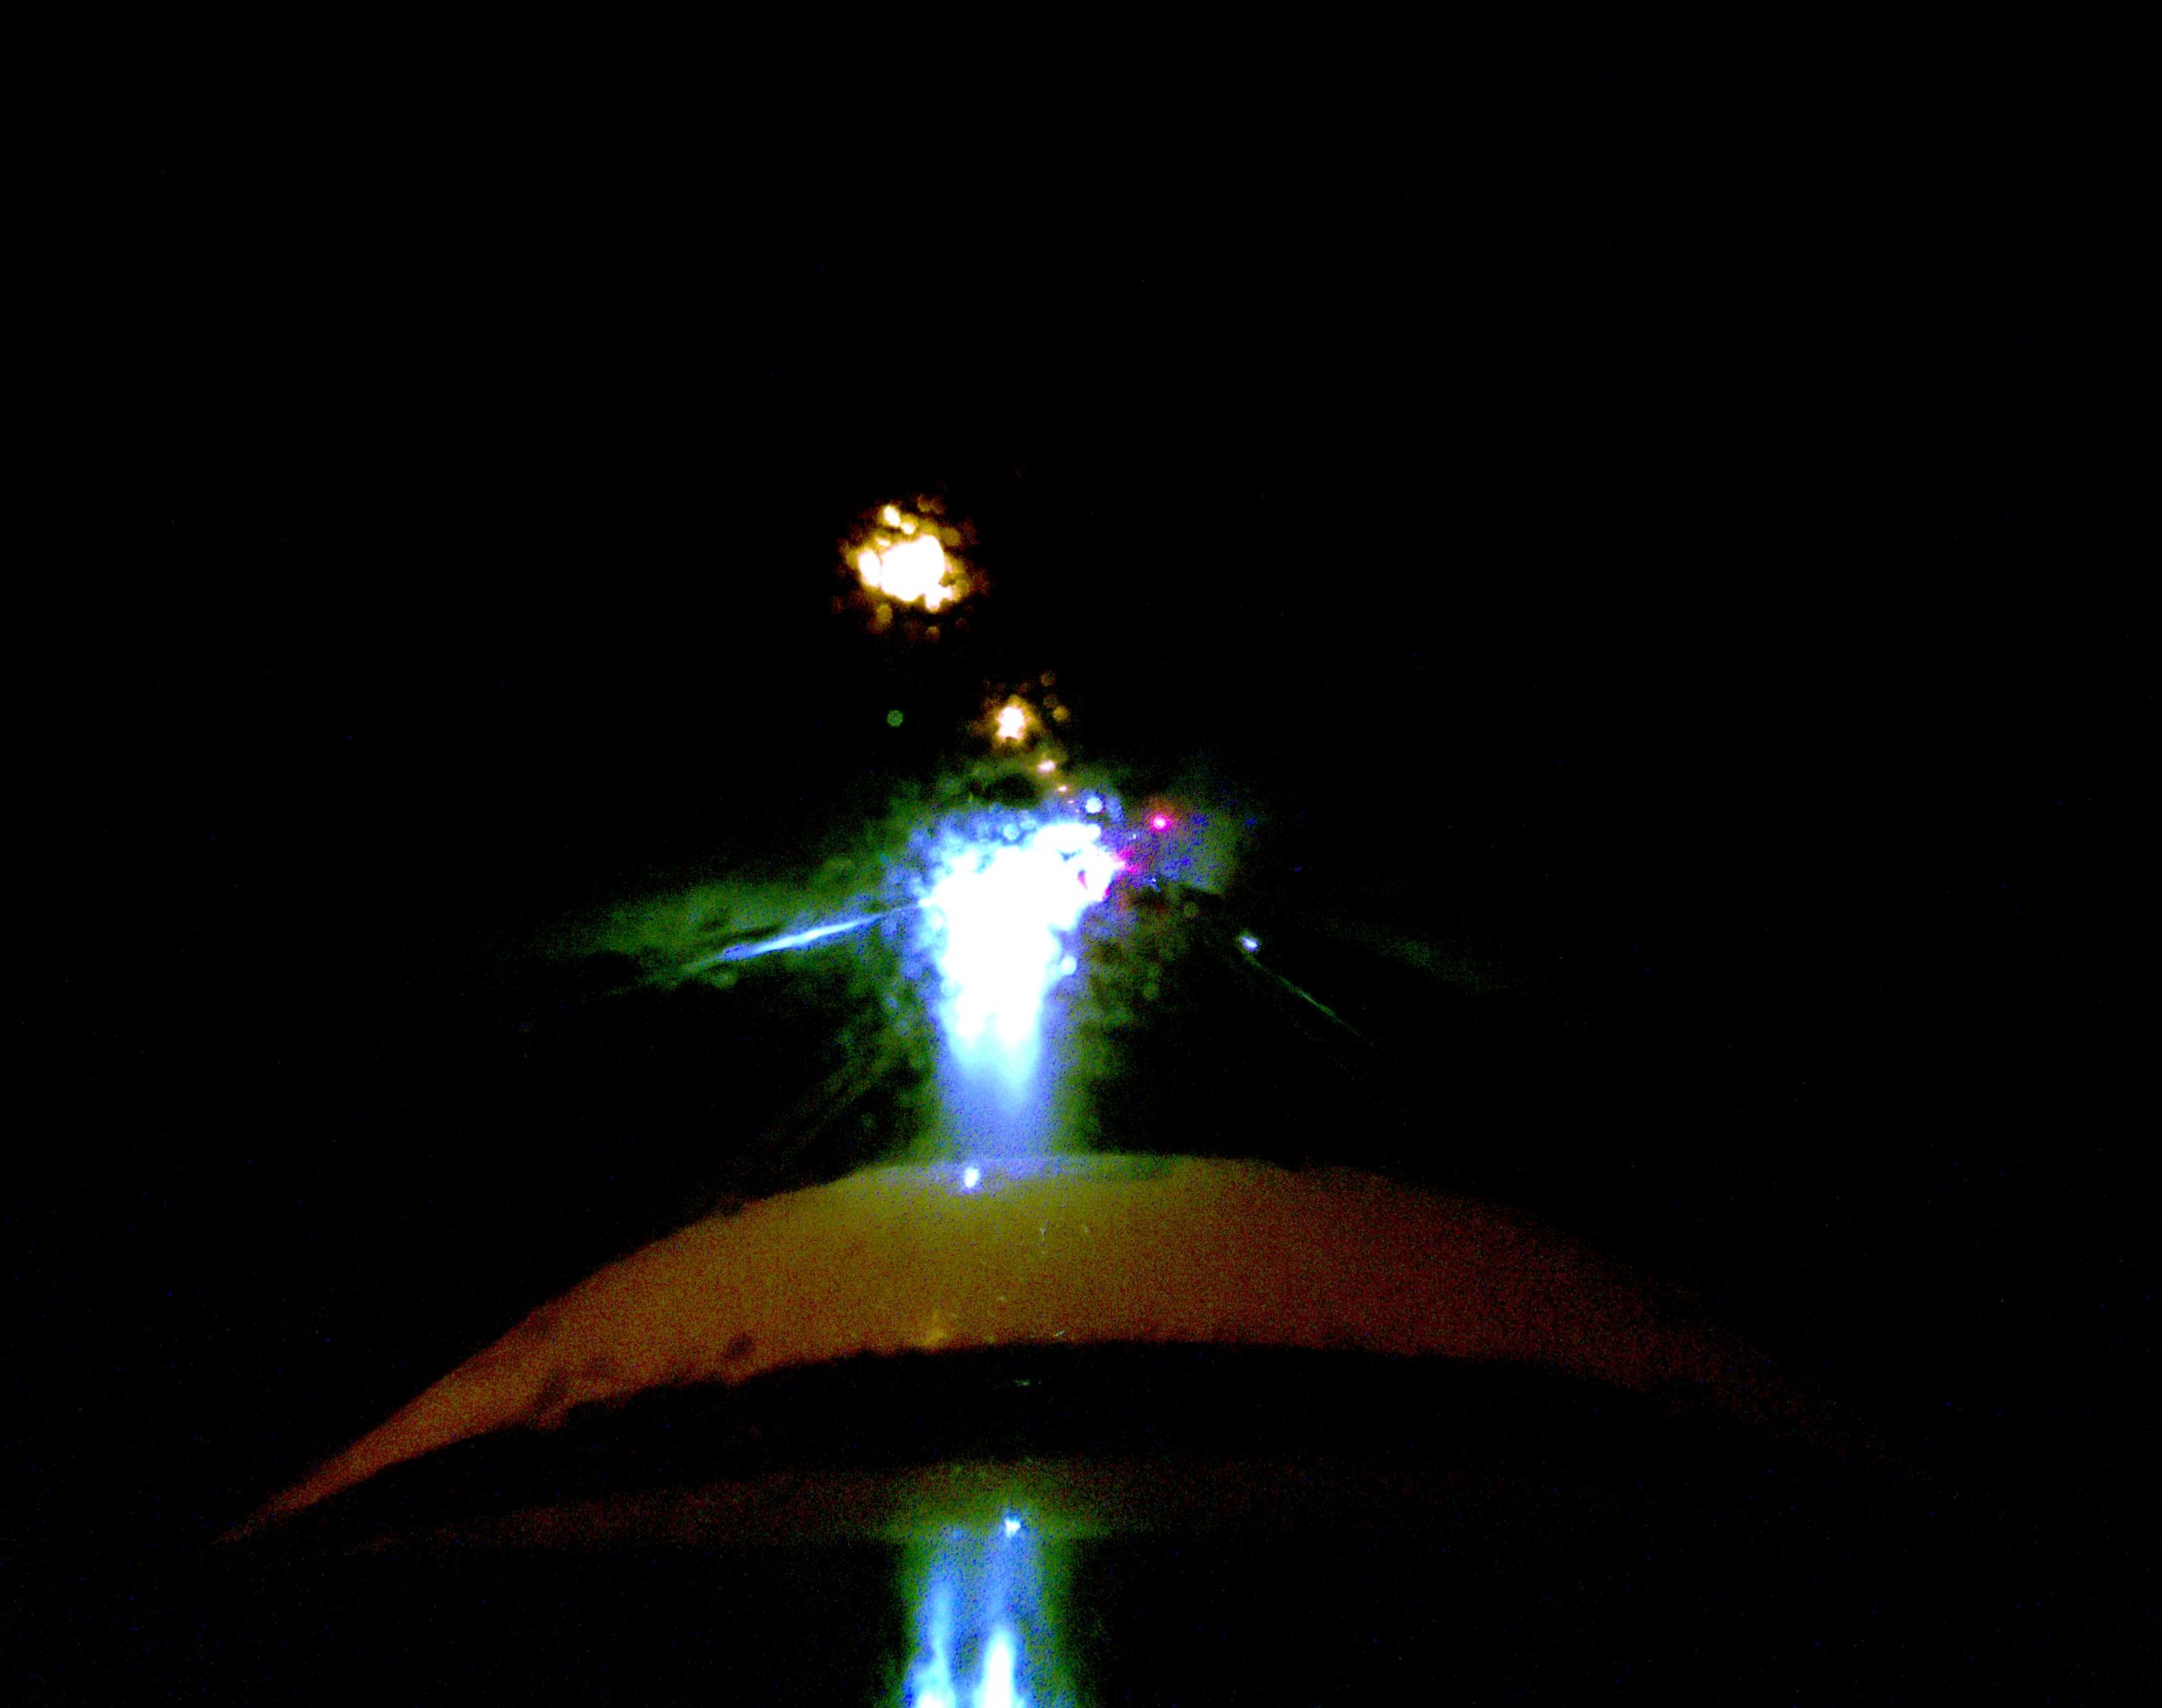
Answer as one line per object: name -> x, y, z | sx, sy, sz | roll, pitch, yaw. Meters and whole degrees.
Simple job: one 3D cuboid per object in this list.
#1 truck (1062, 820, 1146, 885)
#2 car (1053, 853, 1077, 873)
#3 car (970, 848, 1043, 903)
truck -> 1.140, -0.084, 39.312 | 3.521, 2.693, 8.960 | -2, 0, 2
car -> -1.288, 0.713, 67.550 | 1.750, 1.528, 3.816 | 1, 0, 2
car -> -2.154, 0.584, 24.438 | 1.788, 1.482, 3.869 | -1, 0, 0
